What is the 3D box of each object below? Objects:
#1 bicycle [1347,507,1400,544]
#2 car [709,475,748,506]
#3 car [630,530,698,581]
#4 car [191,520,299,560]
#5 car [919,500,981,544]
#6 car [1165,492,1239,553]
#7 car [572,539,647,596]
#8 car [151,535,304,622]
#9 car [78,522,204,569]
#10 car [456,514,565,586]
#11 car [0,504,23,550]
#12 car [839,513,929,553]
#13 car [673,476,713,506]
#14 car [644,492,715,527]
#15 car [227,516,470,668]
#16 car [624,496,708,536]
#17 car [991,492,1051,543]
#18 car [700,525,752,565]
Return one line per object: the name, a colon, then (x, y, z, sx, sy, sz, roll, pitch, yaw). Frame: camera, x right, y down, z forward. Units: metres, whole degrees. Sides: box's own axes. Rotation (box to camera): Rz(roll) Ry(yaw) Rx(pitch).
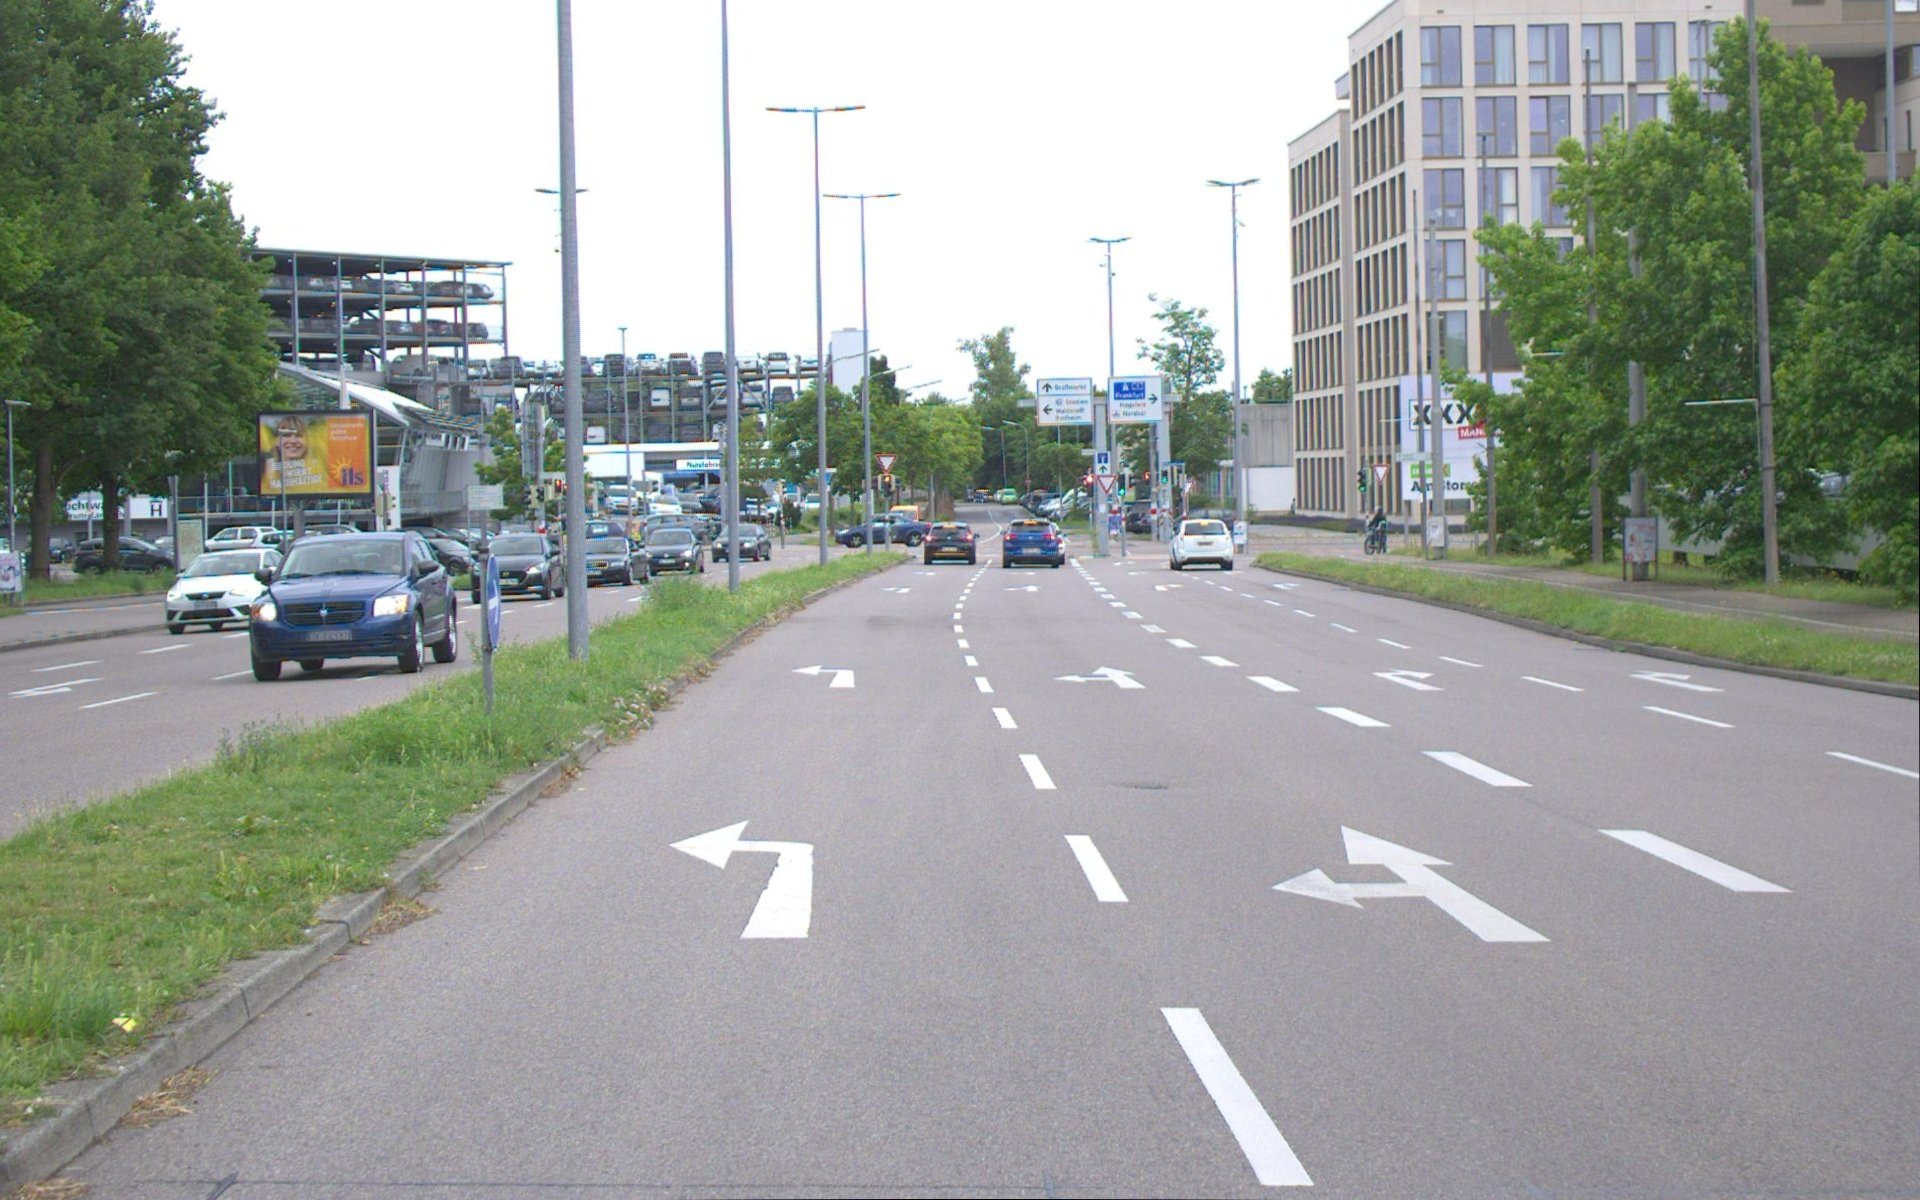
bicycle: (14.743, -2.676, 122.584, 0.700, 1.291, 2.011, -2, 3, -36)
car: (-14.157, -6.714, 210.327, 1.776, 1.700, 3.916, -1, 4, 5)
car: (-9.378, -1.419, 109.169, 1.780, 1.450, 4.183, -3, 2, 0)
car: (-31.298, -2.637, 150.548, 4.415, 1.654, 2.000, -1, 1, -6)
car: (-0.347, -2.631, 116.505, 1.987, 1.423, 4.242, -1, 1, -2)
car: (7.215, -2.330, 102.806, 1.993, 1.746, 4.180, -1, 2, 1)
car: (-9.589, -0.913, 94.337, 1.772, 1.447, 4.405, -3, 1, -3)
car: (-13.273, -0.425, 62.537, 1.866, 1.449, 4.169, -3, 1, -1)
car: (-32.194, -2.158, 135.174, 4.542, 1.654, 2.001, -2, 2, -6)
car: (-9.892, -1.121, 75.916, 1.758, 1.448, 4.000, -3, 1, 1)
car: (-40.143, -2.905, 138.278, 4.432, 1.705, 2.001, -1, 5, -5)
car: (-3.361, -2.952, 151.747, 3.855, 1.629, 1.725, -1, 4, -5)
car: (-16.348, -6.681, 210.316, 1.776, 1.700, 3.916, -1, 4, 5)
car: (-14.417, -4.674, 177.055, 3.605, 1.662, 1.549, -1, 4, -4)
car: (-6.643, -0.136, 37.784, 1.931, 1.481, 4.440, -3, 1, -2)
car: (-14.200, -4.070, 166.407, 3.986, 1.784, 1.848, -1, 4, -4)
car: (1.917, -2.636, 109.517, 1.835, 1.509, 4.001, -1, 2, 0)
car: (-8.964, -2.100, 131.230, 1.930, 1.450, 4.183, -1, 2, -4)
